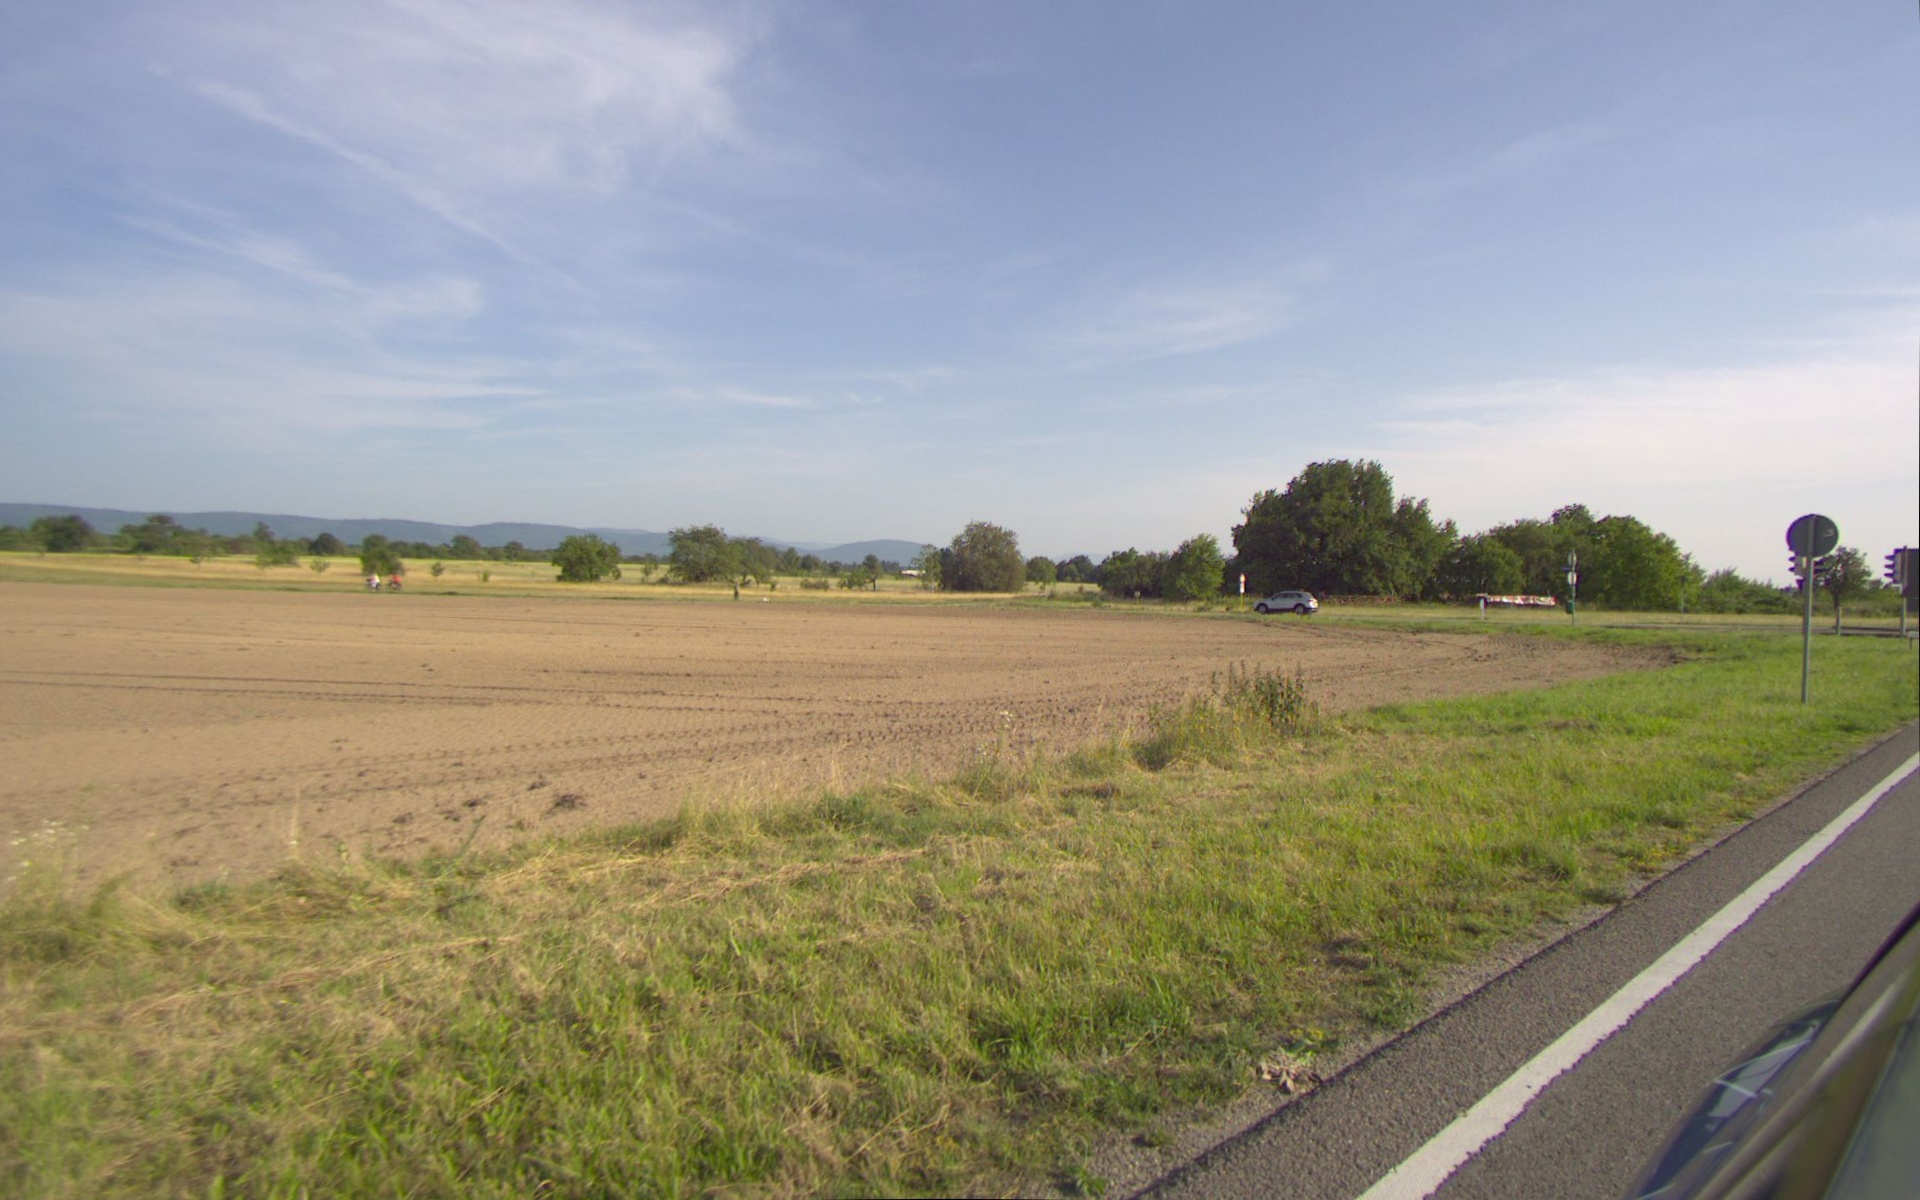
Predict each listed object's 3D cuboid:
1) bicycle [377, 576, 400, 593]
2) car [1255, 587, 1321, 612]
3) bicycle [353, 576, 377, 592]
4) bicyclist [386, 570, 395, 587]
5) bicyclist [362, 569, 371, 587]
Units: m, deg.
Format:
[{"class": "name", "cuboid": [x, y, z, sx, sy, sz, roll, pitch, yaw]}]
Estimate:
[{"class": "bicycle", "cuboid": [-53.900, -1.469, 95.428, 1.941, 1.550, 0.503, 0, 0, 3]}, {"class": "car", "cuboid": [22.846, -0.036, 70.519, 3.973, 1.672, 1.975, 0, 0, 35]}, {"class": "bicycle", "cuboid": [-55.299, -1.486, 94.068, 1.941, 1.550, 0.503, 0, 0, 3]}, {"class": "bicyclist", "cuboid": [-53.713, -2.009, 95.409, 0.540, 1.617, 0.487, 0, 0, 2]}, {"class": "bicyclist", "cuboid": [-55.148, -2.033, 94.060, 0.540, 1.617, 0.487, 0, 0, 2]}]
